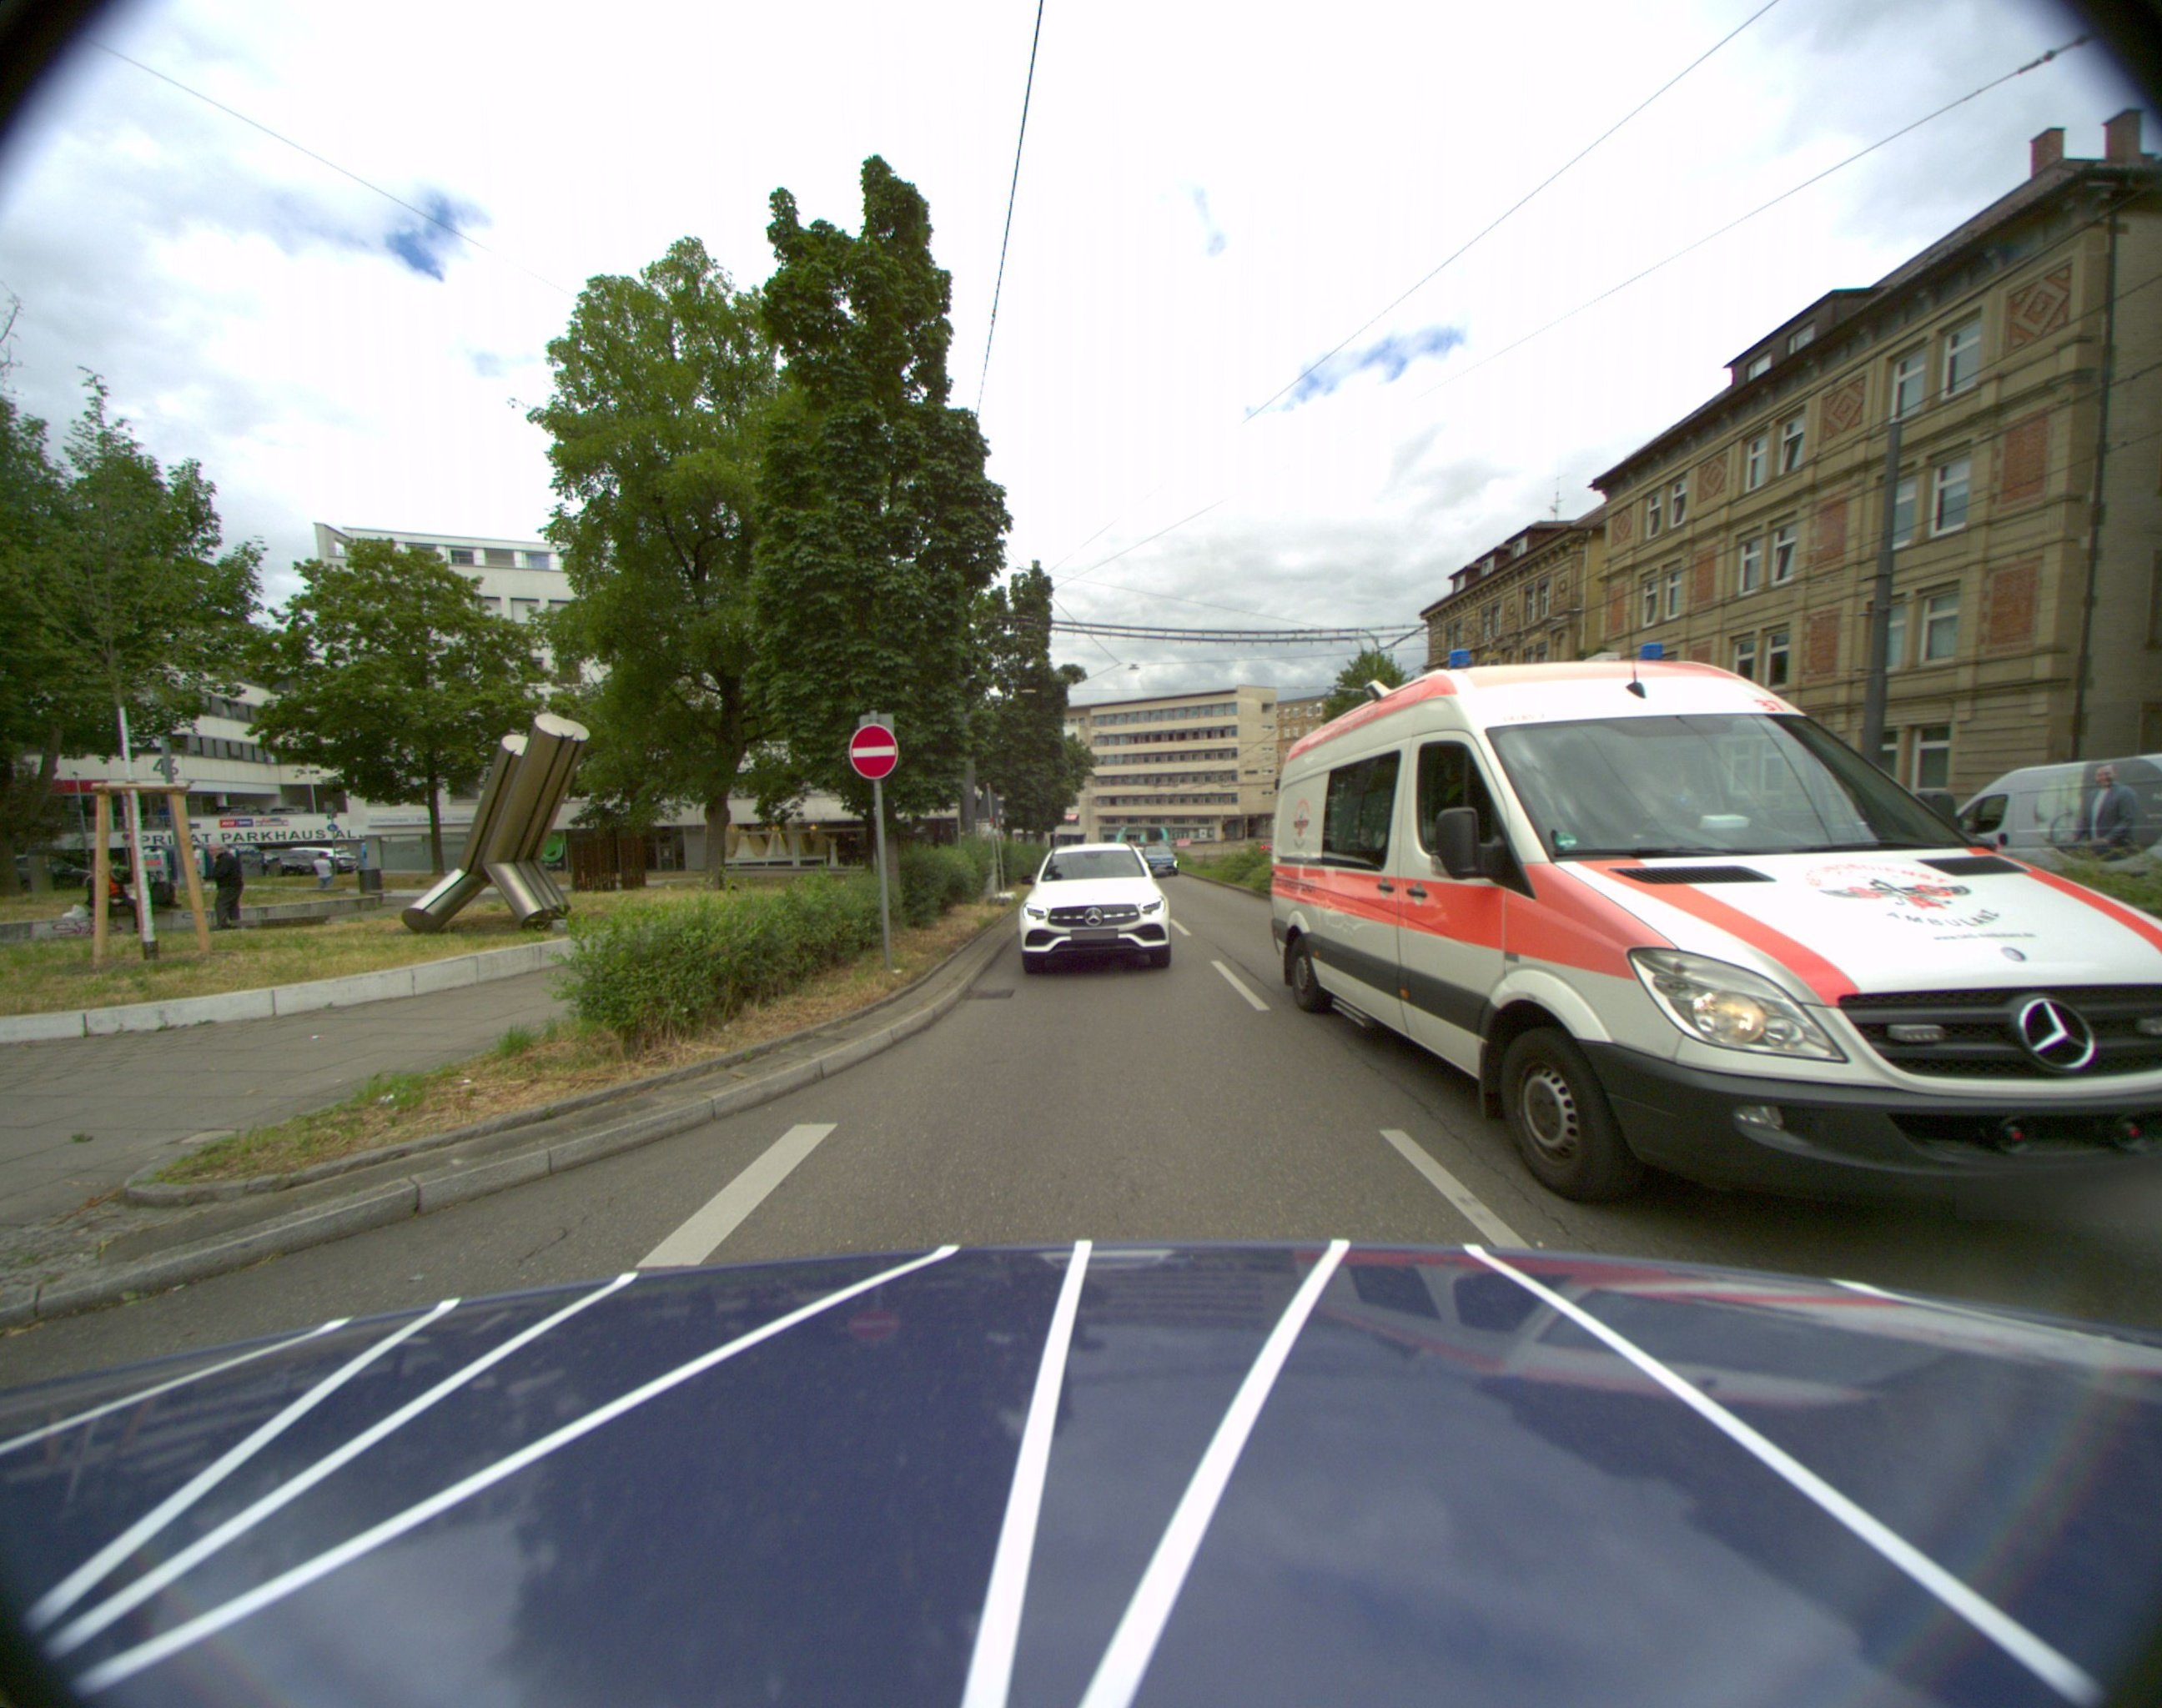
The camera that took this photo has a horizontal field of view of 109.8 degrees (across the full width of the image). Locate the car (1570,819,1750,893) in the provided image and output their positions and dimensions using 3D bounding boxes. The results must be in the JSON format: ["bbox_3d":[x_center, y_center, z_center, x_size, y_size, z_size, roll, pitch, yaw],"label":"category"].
[{"bbox_3d":[14.990,0.021,20.001,1.840,1.740,4.000,-1,1,3],"label":"car"}]

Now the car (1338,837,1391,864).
[{"bbox_3d":[17.438,-0.237,46.904,1.758,1.561,3.999,-1,1,0],"label":"car"}]

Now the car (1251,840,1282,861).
[{"bbox_3d":[14.932,-0.334,61.280,1.681,1.620,3.844,-1,1,2],"label":"car"}]

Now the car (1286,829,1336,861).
[{"bbox_3d":[14.946,-0.603,49.699,2.147,2.002,4.748,-1,1,4],"label":"car"}]

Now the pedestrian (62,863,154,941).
[{"bbox_3d":[-16.555,0.801,12.940,0.655,1.285,0.685,-1,1,10],"label":"pedestrian"}]

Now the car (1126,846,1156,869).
[{"bbox_3d":[4.234,0.197,53.725,1.998,1.543,4.318,-1,1,4],"label":"car"}]

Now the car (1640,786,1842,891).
[{"bbox_3d":[17.173,-0.390,20.095,1.998,2.461,4.000,-1,1,3],"label":"car"}]

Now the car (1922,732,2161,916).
[{"bbox_3d":[17.590,-0.489,12.543,2.214,2.807,4.784,-1,1,2],"label":"car"}]

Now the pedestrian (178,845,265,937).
[{"bbox_3d":[-15.516,0.646,13.743,0.727,1.593,0.791,-2,2,-22],"label":"pedestrian"}]

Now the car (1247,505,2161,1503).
[{"bbox_3d":[2.787,0.376,4.989,2.039,2.684,5.853,-2,1,0],"label":"car"}]

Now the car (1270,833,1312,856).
[{"bbox_3d":[15.045,-0.684,54.685,1.998,1.575,4.000,-1,1,2],"label":"car"}]

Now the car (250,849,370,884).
[{"bbox_3d":[-40.766,0.638,40.281,4.000,1.707,1.998,-1,1,-9],"label":"car"}]

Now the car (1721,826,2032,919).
[{"bbox_3d":[14.761,0.282,14.490,1.871,1.510,3.950,-1,1,2],"label":"car"}]

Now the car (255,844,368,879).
[{"bbox_3d":[-42.601,0.400,42.155,4.000,1.677,1.687,-4,2,-11],"label":"car"}]

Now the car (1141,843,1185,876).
[{"bbox_3d":[4.186,0.241,39.299,1.930,1.563,4.181,-3,1,3],"label":"car"}]

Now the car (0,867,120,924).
[{"bbox_3d":[-35.945,1.377,25.919,2.003,1.730,4.774,-1,1,-26],"label":"car"}]

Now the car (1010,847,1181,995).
[{"bbox_3d":[0.164,0.745,10.861,1.894,1.610,4.477,-2,1,0],"label":"car"}]

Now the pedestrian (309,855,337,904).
[{"bbox_3d":[-24.293,0.792,24.366,0.529,1.525,0.672,-2,2,-39],"label":"pedestrian"}]

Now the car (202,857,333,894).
[{"bbox_3d":[-40.356,1.040,37.794,4.000,1.707,1.998,-1,1,-9],"label":"car"}]
